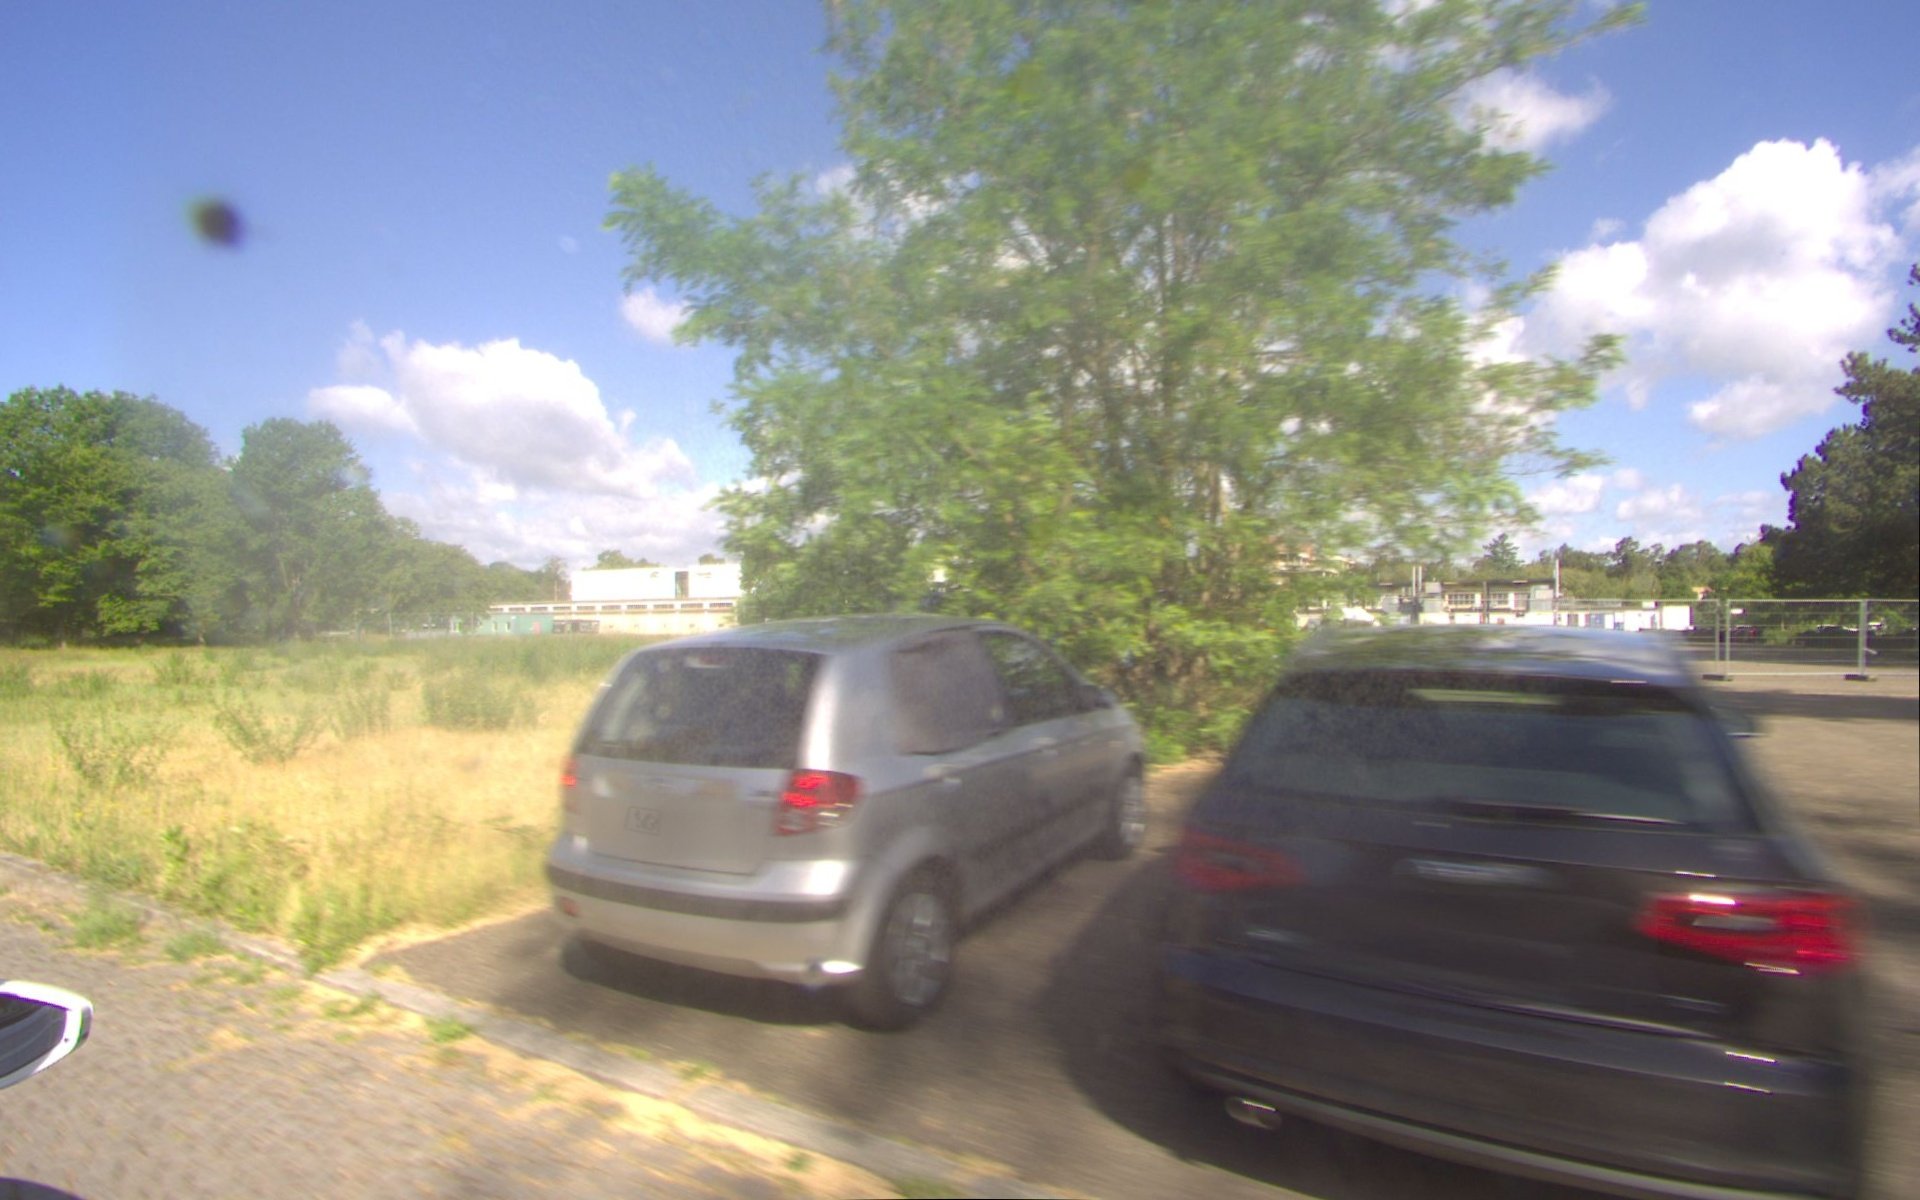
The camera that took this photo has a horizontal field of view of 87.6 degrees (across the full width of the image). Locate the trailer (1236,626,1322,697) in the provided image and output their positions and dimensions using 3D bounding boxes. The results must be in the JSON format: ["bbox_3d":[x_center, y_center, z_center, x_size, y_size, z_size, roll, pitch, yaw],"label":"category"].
[{"bbox_3d":[5.507,1.031,17.185,1.020,1.119,2.399,-1,-2,27],"label":"trailer"}]

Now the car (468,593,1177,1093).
[{"bbox_3d":[-0.279,0.768,5.194,1.725,1.496,3.734,-1,1,29],"label":"car"}]

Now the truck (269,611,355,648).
[{"bbox_3d":[-45.343,2.078,69.982,6.784,2.454,2.231,-1,-3,31],"label":"truck"}]

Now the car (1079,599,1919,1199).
[{"bbox_3d":[2.070,0.786,3.853,1.816,1.461,3.998,0,2,29],"label":"car"}]
